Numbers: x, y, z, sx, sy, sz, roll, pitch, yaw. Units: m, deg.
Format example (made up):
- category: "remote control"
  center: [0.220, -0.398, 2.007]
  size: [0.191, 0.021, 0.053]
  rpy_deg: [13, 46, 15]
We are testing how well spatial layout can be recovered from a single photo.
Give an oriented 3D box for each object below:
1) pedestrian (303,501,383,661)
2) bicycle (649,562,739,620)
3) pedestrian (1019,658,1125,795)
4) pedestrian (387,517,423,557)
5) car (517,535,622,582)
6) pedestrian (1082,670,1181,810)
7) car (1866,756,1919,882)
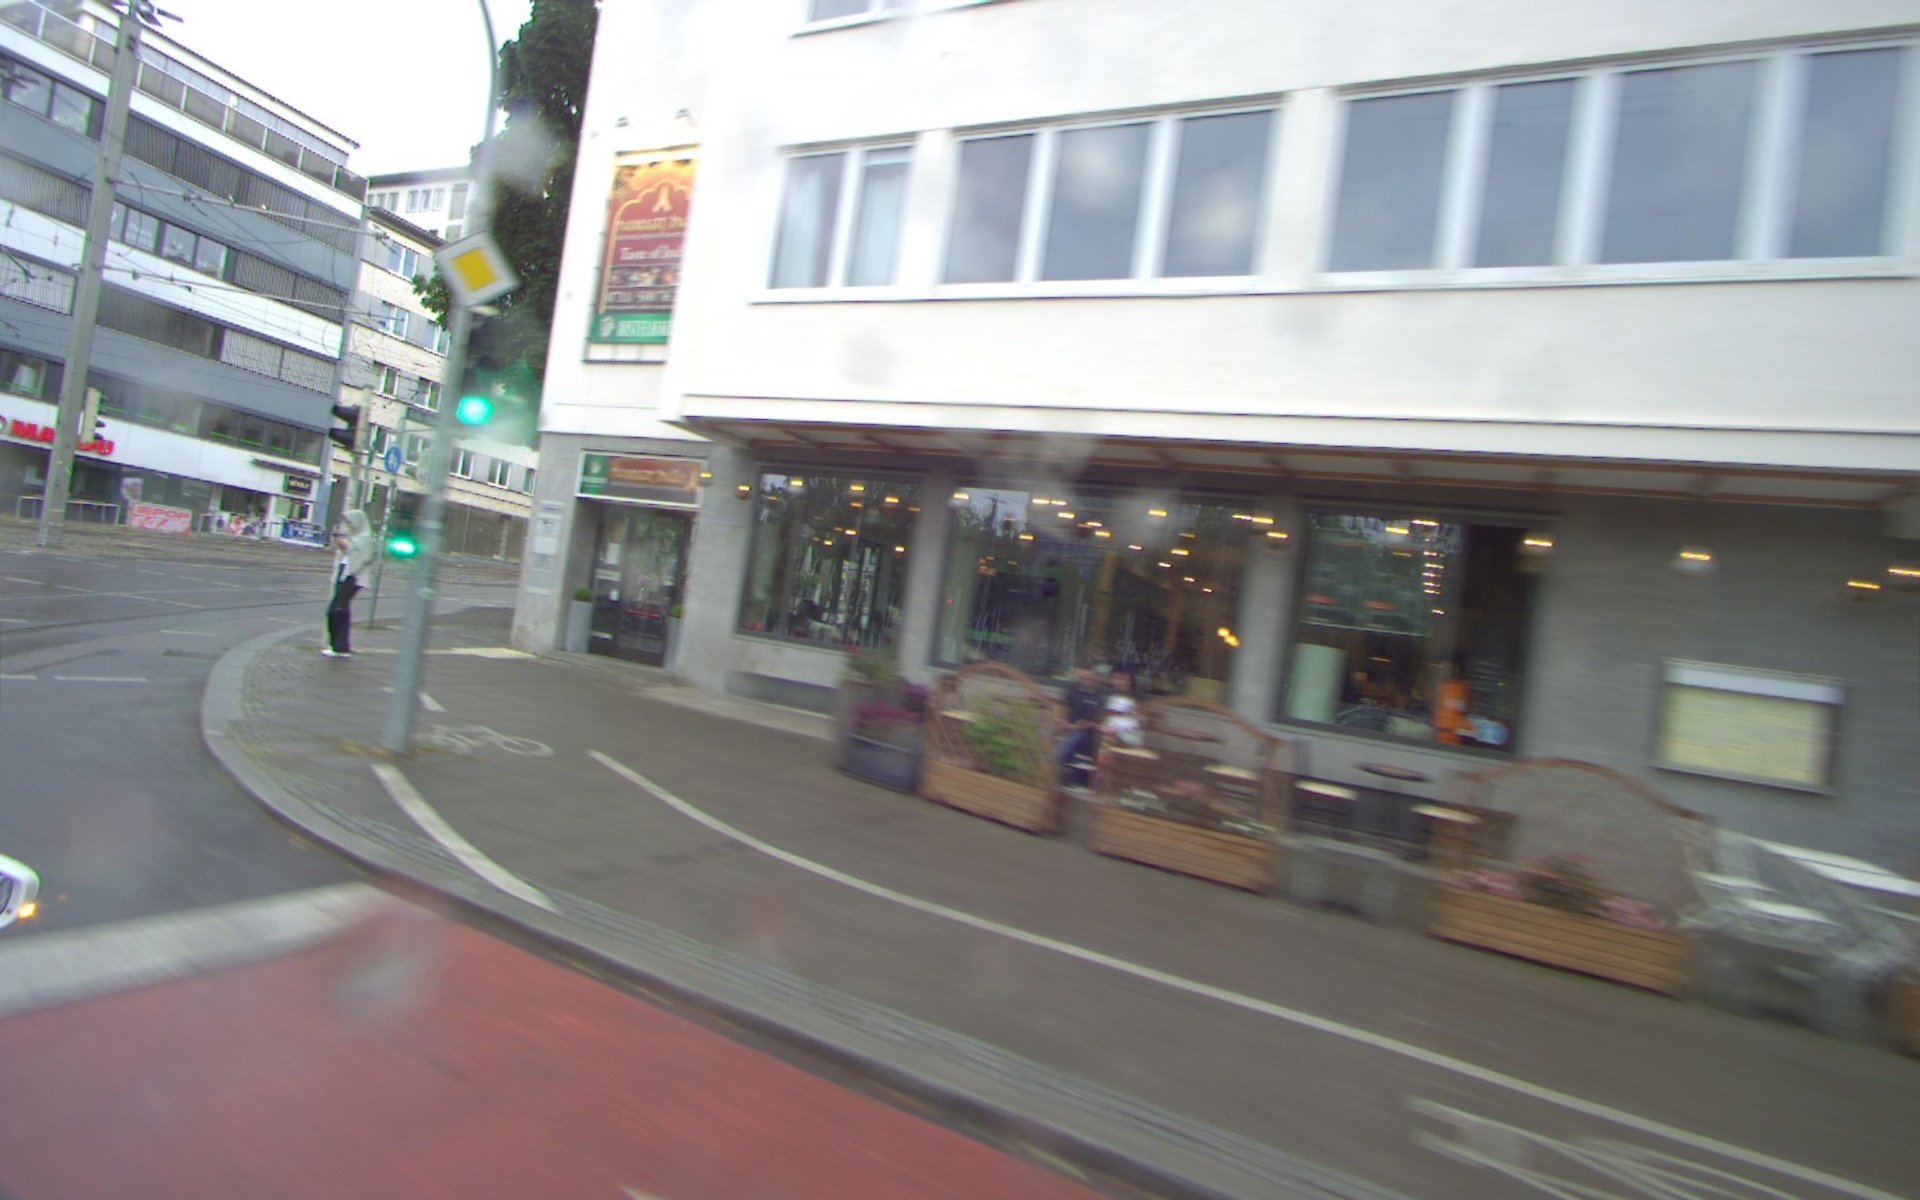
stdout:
- category: "pedestrian"
  center: [-7.099, -0.216, 11.599]
  size: [0.522, 1.733, 0.701]
  rpy_deg: [7, 0, -25]
- category: "bicycle"
  center: [-6.862, -0.239, 25.912]
  size: [2.282, 1.188, 0.649]
  rpy_deg: [7, 0, 27]
- category: "pedestrian"
  center: [1.125, 1.228, 9.986]
  size: [0.624, 1.206, 0.931]
  rpy_deg: [8, 1, 27]
- category: "pedestrian"
  center: [-25.675, -2.920, 46.580]
  size: [0.874, 1.702, 0.998]
  rpy_deg: [7, 1, 23]
- category: "car"
  center: [-18.659, -1.962, 48.284]
  size: [1.964, 1.694, 4.524]
  rpy_deg: [7, 0, 23]
- category: "pedestrian"
  center: [1.670, 1.314, 9.705]
  size: [0.558, 1.206, 0.917]
  rpy_deg: [8, 1, 27]
- category: "car"
  center: [12.081, 2.716, 11.486]
  size: [1.652, 1.379, 3.219]
  rpy_deg: [7, -1, 27]
